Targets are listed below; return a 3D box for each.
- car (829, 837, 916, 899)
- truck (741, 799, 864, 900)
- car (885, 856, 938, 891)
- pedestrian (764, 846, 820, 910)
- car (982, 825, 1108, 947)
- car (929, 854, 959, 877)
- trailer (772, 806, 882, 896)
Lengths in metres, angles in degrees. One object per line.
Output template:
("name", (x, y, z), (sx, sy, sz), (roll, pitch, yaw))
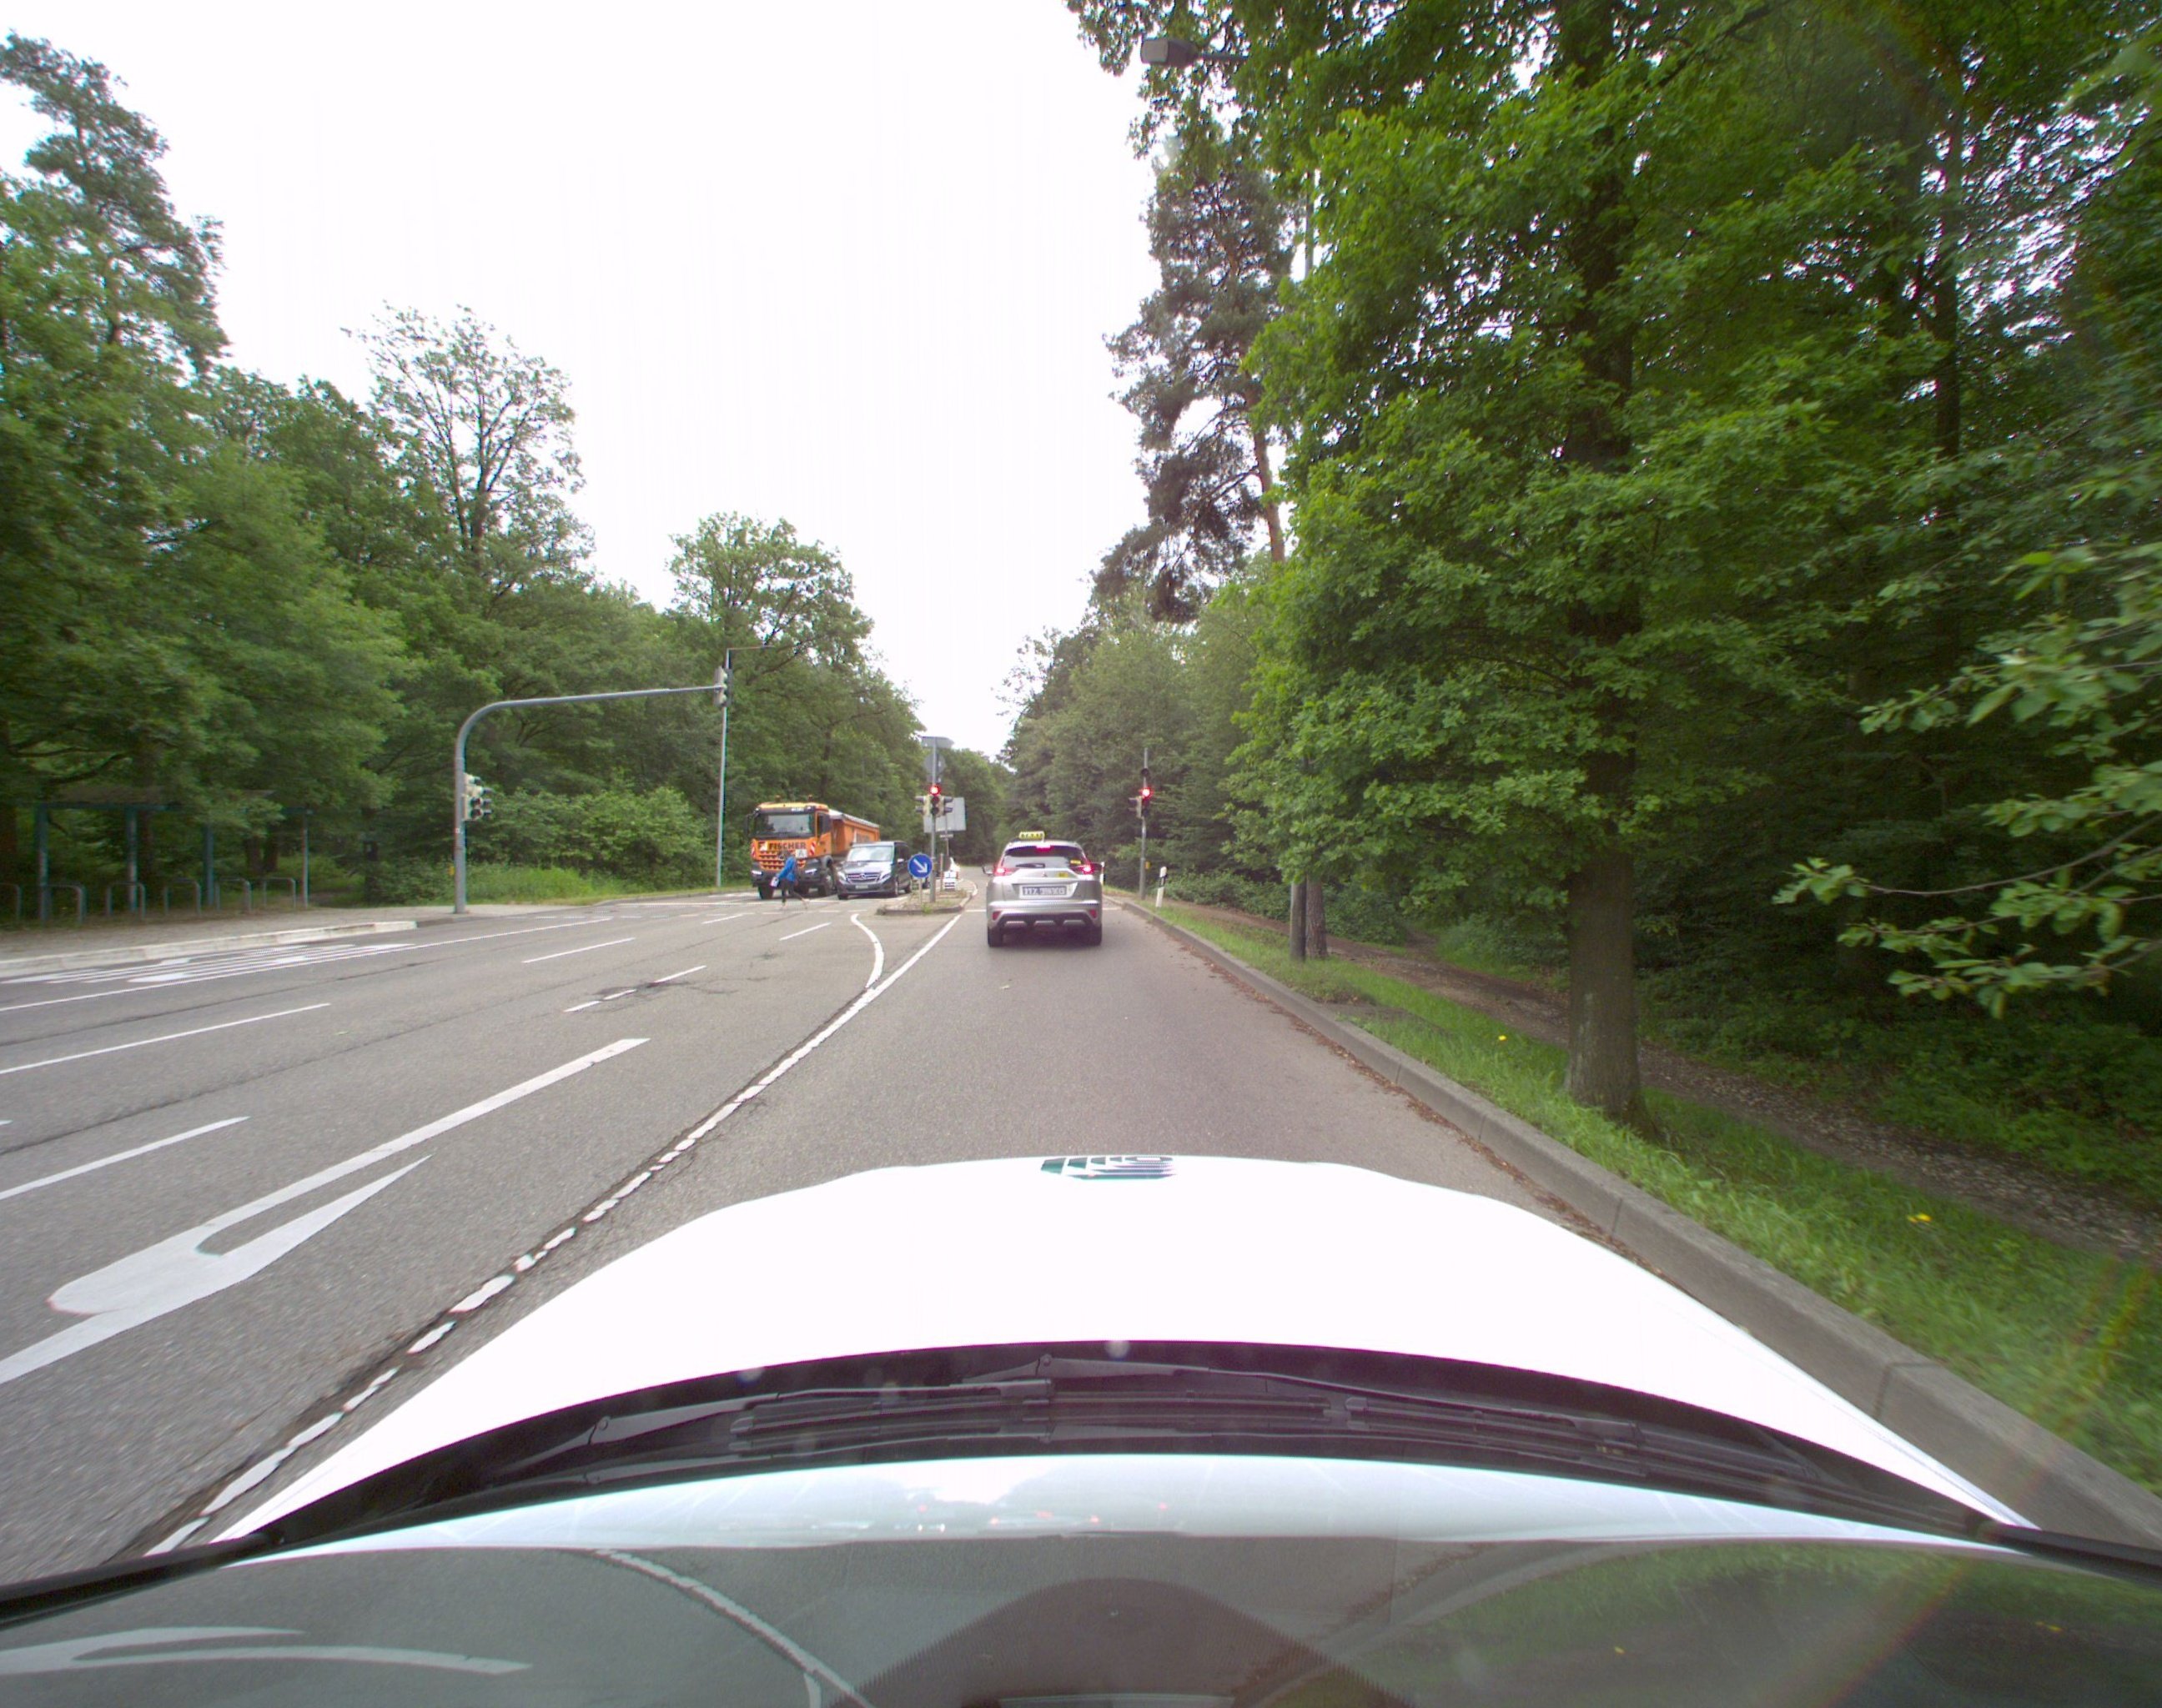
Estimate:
("car", (-7.111, 0.464, 28.275), (1.990, 1.893, 4.832), (-2, 0, -4))
("truck", (-10.316, -0.124, 31.008), (2.735, 3.318, 7.146), (-2, -1, -5))
("car", (-7.350, 0.808, 35.585), (1.608, 1.321, 3.718), (-3, 1, -2))
("pedestrian", (-7.748, 0.625, 21.890), (1.043, 1.649, 1.070), (-1, 1, 3))
("car", (-0.668, 0.461, 13.913), (1.843, 1.780, 3.994), (0, 0, -4))
("car", (-9.636, 0.813, 57.435), (1.809, 1.508, 3.713), (-3, 0, -7))
("trailer", (-10.695, -0.072, 35.243), (2.735, 3.318, 8.552), (-2, -1, -5))
